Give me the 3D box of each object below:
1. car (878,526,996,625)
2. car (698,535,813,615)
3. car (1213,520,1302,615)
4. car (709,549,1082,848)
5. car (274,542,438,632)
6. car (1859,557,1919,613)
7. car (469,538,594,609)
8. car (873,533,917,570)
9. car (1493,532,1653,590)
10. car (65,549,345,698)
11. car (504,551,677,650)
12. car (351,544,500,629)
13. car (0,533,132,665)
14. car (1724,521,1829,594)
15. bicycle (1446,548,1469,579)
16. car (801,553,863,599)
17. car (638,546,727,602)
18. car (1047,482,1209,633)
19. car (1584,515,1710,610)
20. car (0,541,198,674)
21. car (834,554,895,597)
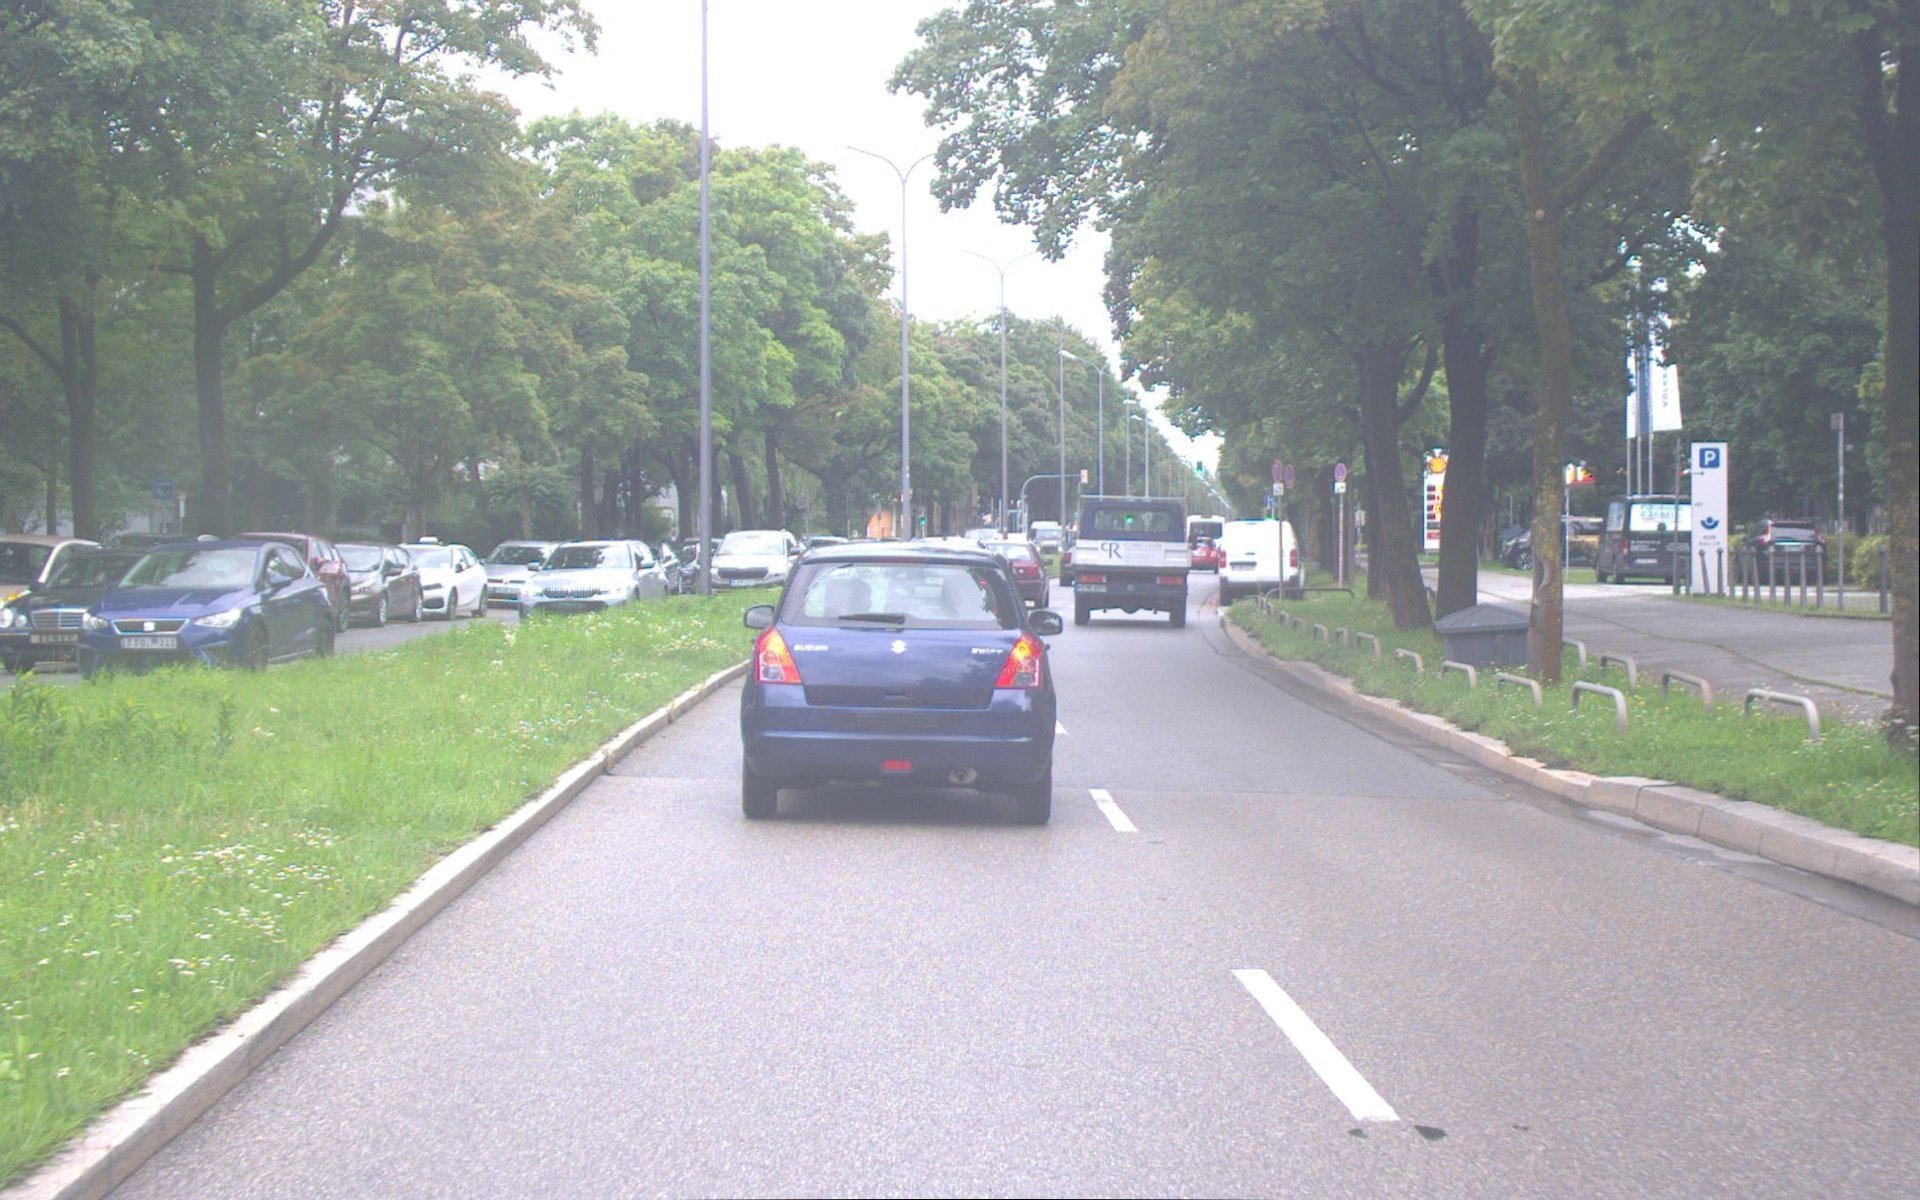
[{"bbox_3d":[-0.367,-0.406,54.501,1.799,1.494,3.660,0,1,-1],"label":"car"},{"bbox_3d":[-4.286,-0.539,72.558,1.766,1.619,4.376,-1,1,5],"label":"car"},{"bbox_3d":[7.052,-0.774,81.305,1.987,2.150,5.554,-1,1,5],"label":"car"},{"bbox_3d":[-0.271,0.481,19.592,1.896,1.494,3.660,1,1,2],"label":"car"},{"bbox_3d":[-10.676,-0.251,61.006,1.739,1.477,4.333,2,1,5],"label":"car"},{"bbox_3d":[24.019,-0.394,87.159,1.784,1.369,3.960,1,1,23],"label":"car"},{"bbox_3d":[-9.388,-0.599,75.609,1.736,1.443,4.822,2,1,5],"label":"car"},{"bbox_3d":[-2.801,-2.124,149.209,1.691,1.560,3.079,0,1,3],"label":"car"},{"bbox_3d":[22.049,-1.396,123.820,5.471,2.076,2.147,0,1,5],"label":"car"},{"bbox_3d":[-7.526,0.198,34.623,1.692,1.397,3.967,-1,1,4],"label":"car"},{"bbox_3d":[-5.818,-0.022,54.720,1.915,1.479,4.864,-1,1,4],"label":"car"},{"bbox_3d":[-10.196,-0.281,65.858,1.739,1.524,4.474,2,1,5],"label":"car"},{"bbox_3d":[-12.195,-0.049,44.474,1.647,1.608,3.818,1,1,7],"label":"car"},{"bbox_3d":[20.909,-1.097,88.174,1.842,1.812,4.471,-1,1,3],"label":"car"},{"bbox_3d":[19.416,-1.435,134.226,0.748,1.179,2.246,0,1,5],"label":"bicycle"},{"bbox_3d":[-4.675,-0.888,126.149,1.757,1.589,4.489,2,1,4],"label":"car"},{"bbox_3d":[-7.598,-0.733,94.480,1.626,1.418,4.191,3,1,6],"label":"car"},{"bbox_3d":[2.958,-0.736,59.327,2.419,2.436,5.085,1,1,7],"label":"car"},{"bbox_3d":[17.505,-0.969,87.912,2.265,2.299,6.268,-1,1,3],"label":"car"},{"bbox_3d":[-10.355,0.053,40.344,1.692,1.479,3.967,0,1,4],"label":"car"},{"bbox_3d":[-3.759,-0.998,136.167,1.832,1.604,4.490,2,1,6],"label":"car"}]
